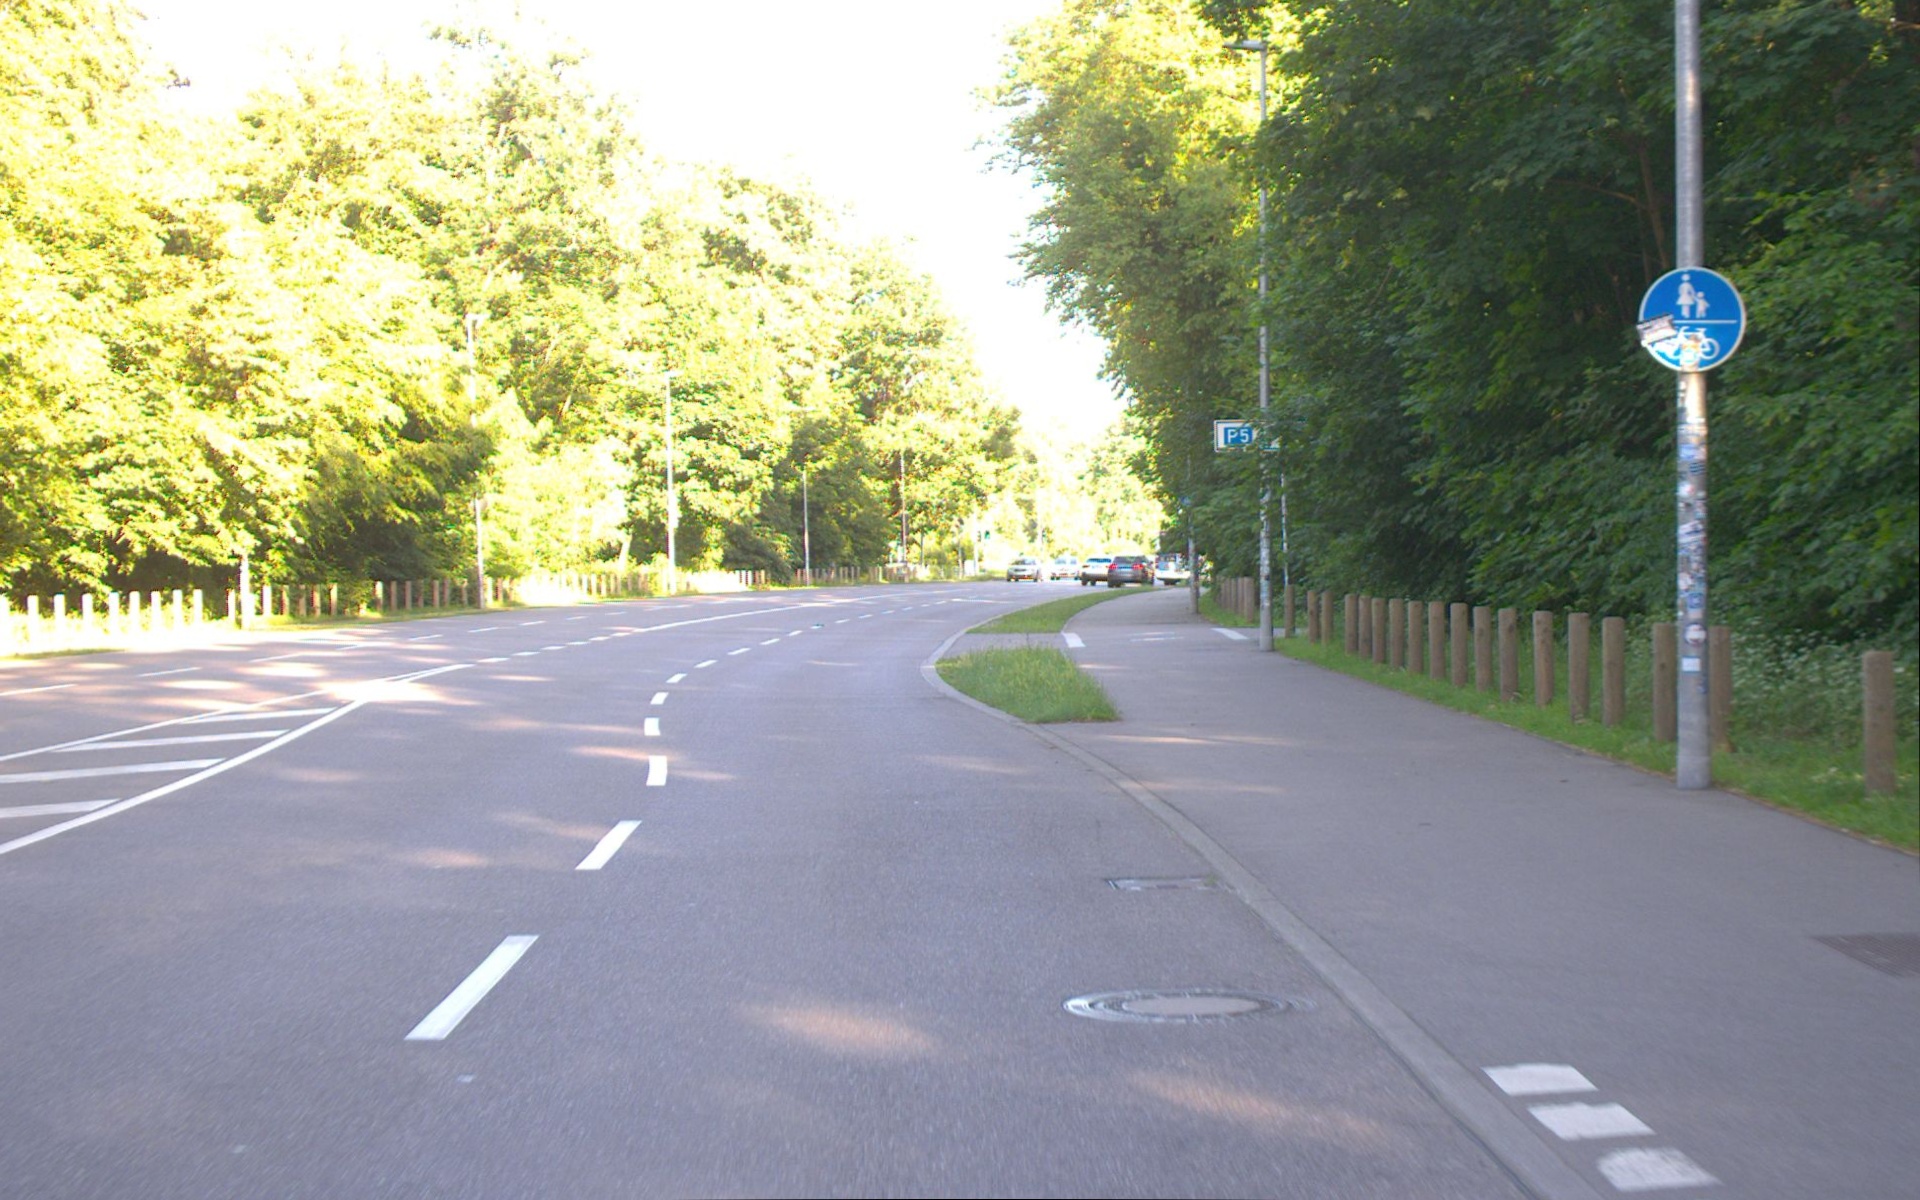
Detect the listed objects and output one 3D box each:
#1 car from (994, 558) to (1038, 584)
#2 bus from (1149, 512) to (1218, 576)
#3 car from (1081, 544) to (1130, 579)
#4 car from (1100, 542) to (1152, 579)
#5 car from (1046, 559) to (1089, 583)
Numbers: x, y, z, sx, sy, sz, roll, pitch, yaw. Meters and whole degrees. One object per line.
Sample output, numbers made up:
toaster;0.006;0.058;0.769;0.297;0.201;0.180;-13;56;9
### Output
car;3.172;-1.659;194.751;1.780;1.403;4.164;0;2;11
bus;11.930;-2.989;183.285;2.606;3.357;7.971;0;1;12
car;7.435;-1.978;175.426;1.881;1.703;3.998;-1;1;12
car;8.018;-1.922;165.781;1.881;1.759;3.998;-1;1;12
car;6.717;-1.817;214.547;1.781;1.459;4.271;1;1;15
